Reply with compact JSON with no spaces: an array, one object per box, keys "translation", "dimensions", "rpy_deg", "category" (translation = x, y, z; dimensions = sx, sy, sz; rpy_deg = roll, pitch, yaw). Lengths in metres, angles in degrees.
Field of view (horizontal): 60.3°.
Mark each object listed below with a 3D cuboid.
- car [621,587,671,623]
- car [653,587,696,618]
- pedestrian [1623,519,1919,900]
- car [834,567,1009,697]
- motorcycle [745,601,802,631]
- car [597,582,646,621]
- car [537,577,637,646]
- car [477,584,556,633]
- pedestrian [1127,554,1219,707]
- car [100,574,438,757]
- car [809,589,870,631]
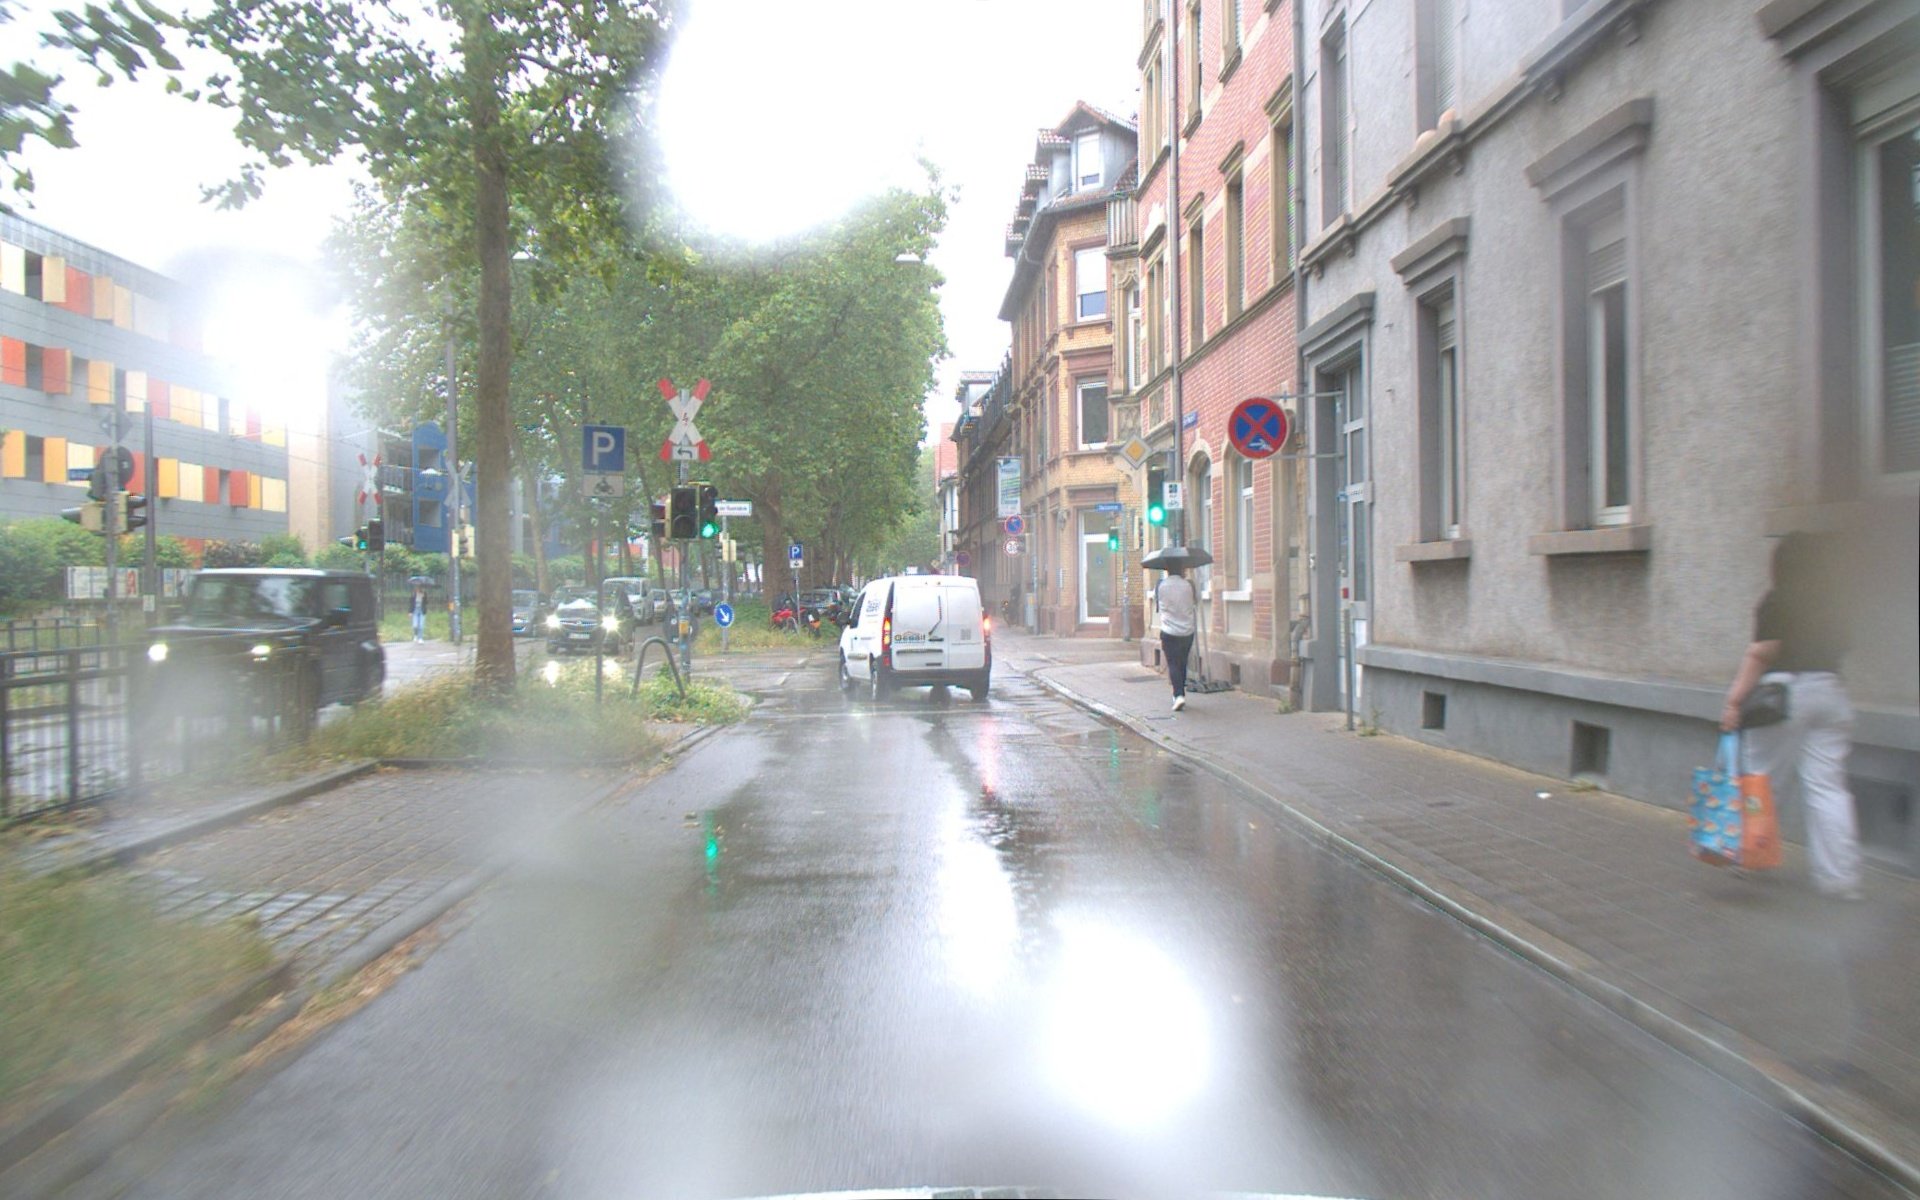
[{"translation":[-15.055,0.230,79.510],"dimensions":[1.959,1.641,4.119],"rpy_deg":[-1,1,-5],"category":"car"},{"translation":[-15.461,0.130,89.801],"dimensions":[1.959,1.641,4.119],"rpy_deg":[-1,1,-5],"category":"car"},{"translation":[3.674,0.450,7.451],"dimensions":[0.823,1.538,1.107],"rpy_deg":[-4,1,-2],"category":"pedestrian"},{"translation":[-0.689,0.478,25.610],"dimensions":[1.871,1.829,4.098],"rpy_deg":[-1,-1,-14],"category":"car"},{"translation":[-5.732,0.483,50.921],"dimensions":[1.670,0.880,0.577],"rpy_deg":[-1,0,3],"category":"motorcycle"},{"translation":[-14.265,0.041,69.756],"dimensions":[1.958,1.609,3.989],"rpy_deg":[-1,1,-11],"category":"car"},{"translation":[-9.434,0.266,42.099],"dimensions":[1.959,1.641,4.119],"rpy_deg":[-1,0,-5],"category":"car"},{"translation":[-13.907,0.239,52.036],"dimensions":[1.957,1.440,3.992],"rpy_deg":[-1,0,-9],"category":"car"},{"translation":[2.566,0.350,20.020],"dimensions":[0.823,1.746,1.107],"rpy_deg":[-4,1,-2],"category":"pedestrian"},{"translation":[-6.916,0.574,17.052],"dimensions":[1.958,1.641,3.998],"rpy_deg":[0,1,-3],"category":"car"},{"translation":[-4.289,0.340,59.512],"dimensions":[1.953,1.411,3.999],"rpy_deg":[-1,1,-1],"category":"car"}]
